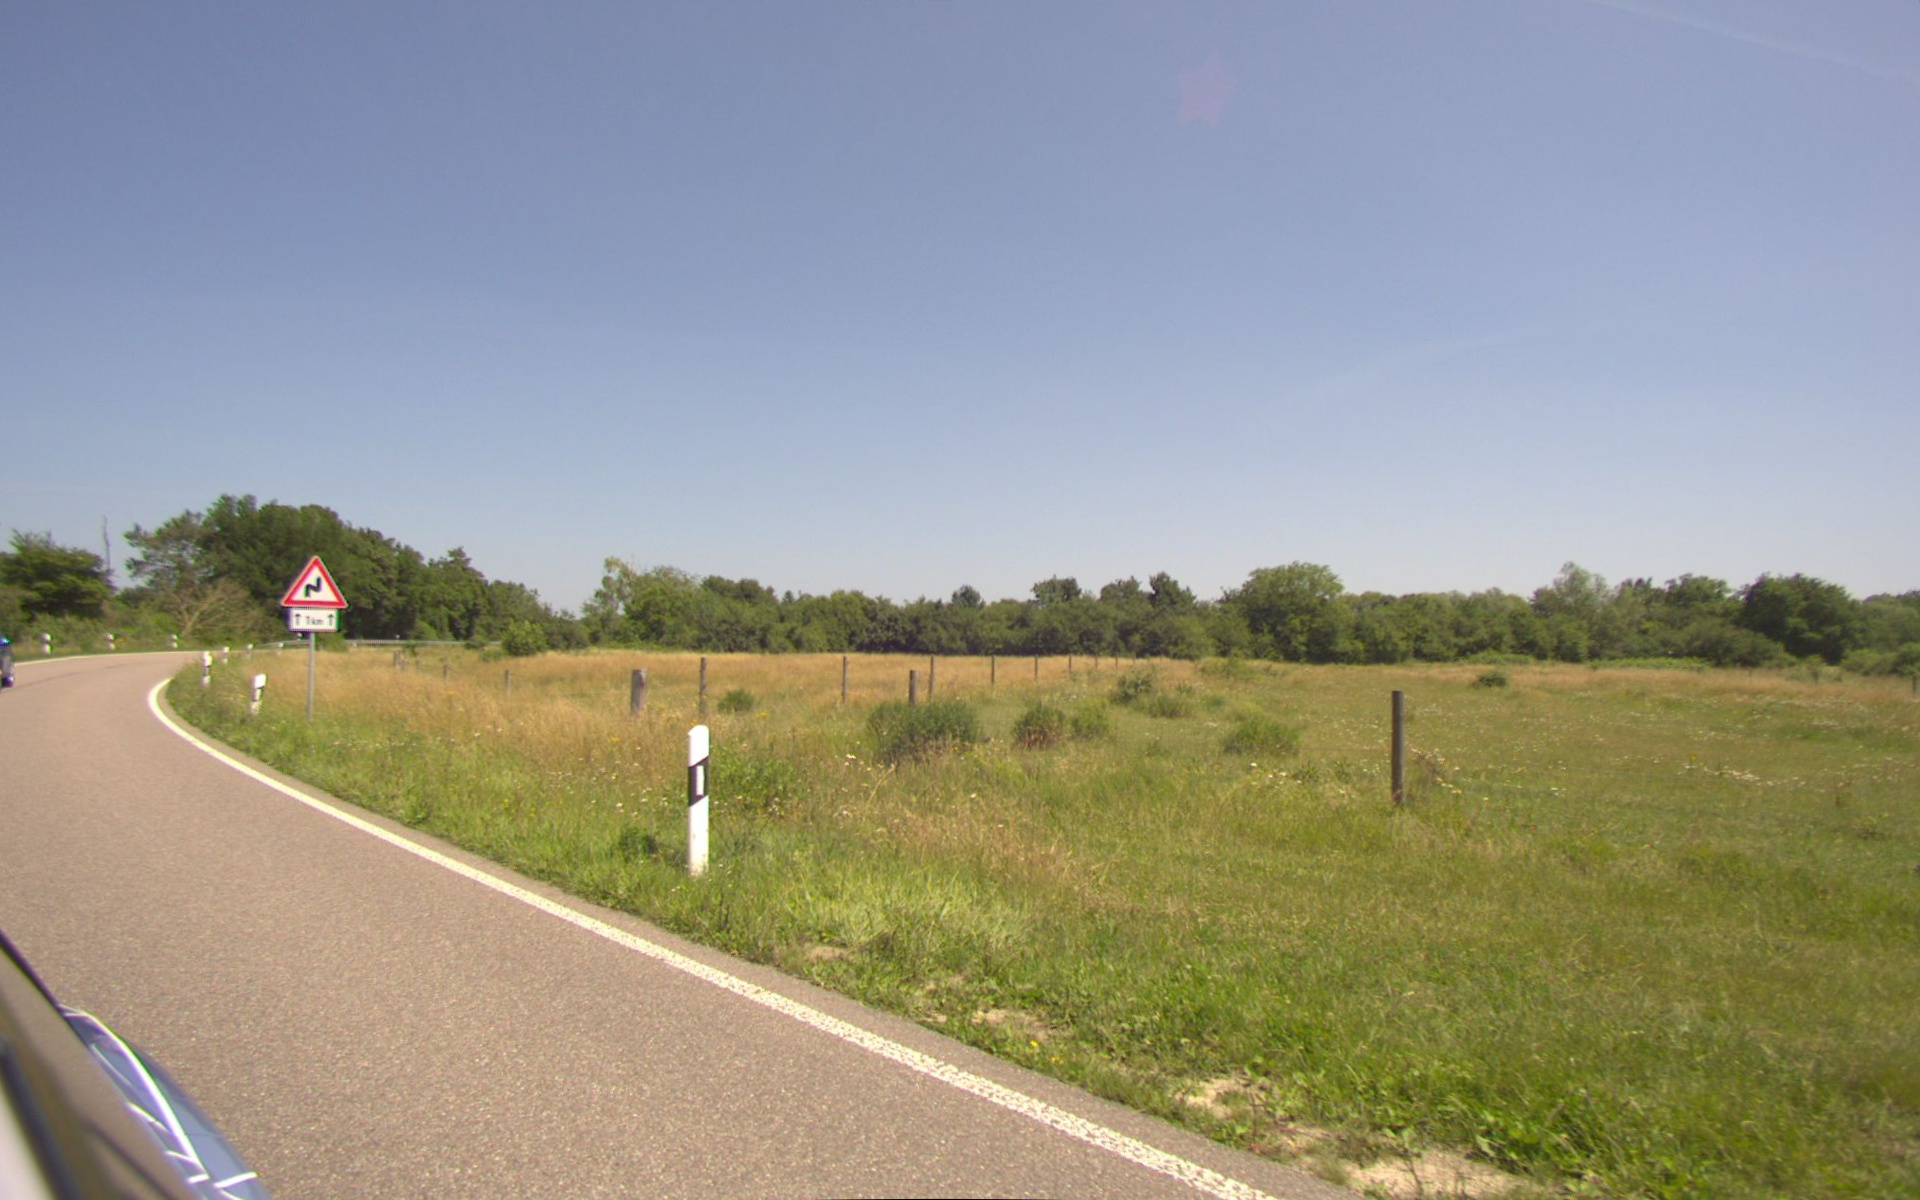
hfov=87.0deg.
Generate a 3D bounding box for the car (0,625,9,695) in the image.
[{"bbox_3d":[-22.669,1.349,22.699,1.708,1.593,4.006,1,-2,-40],"label":"car"}]
